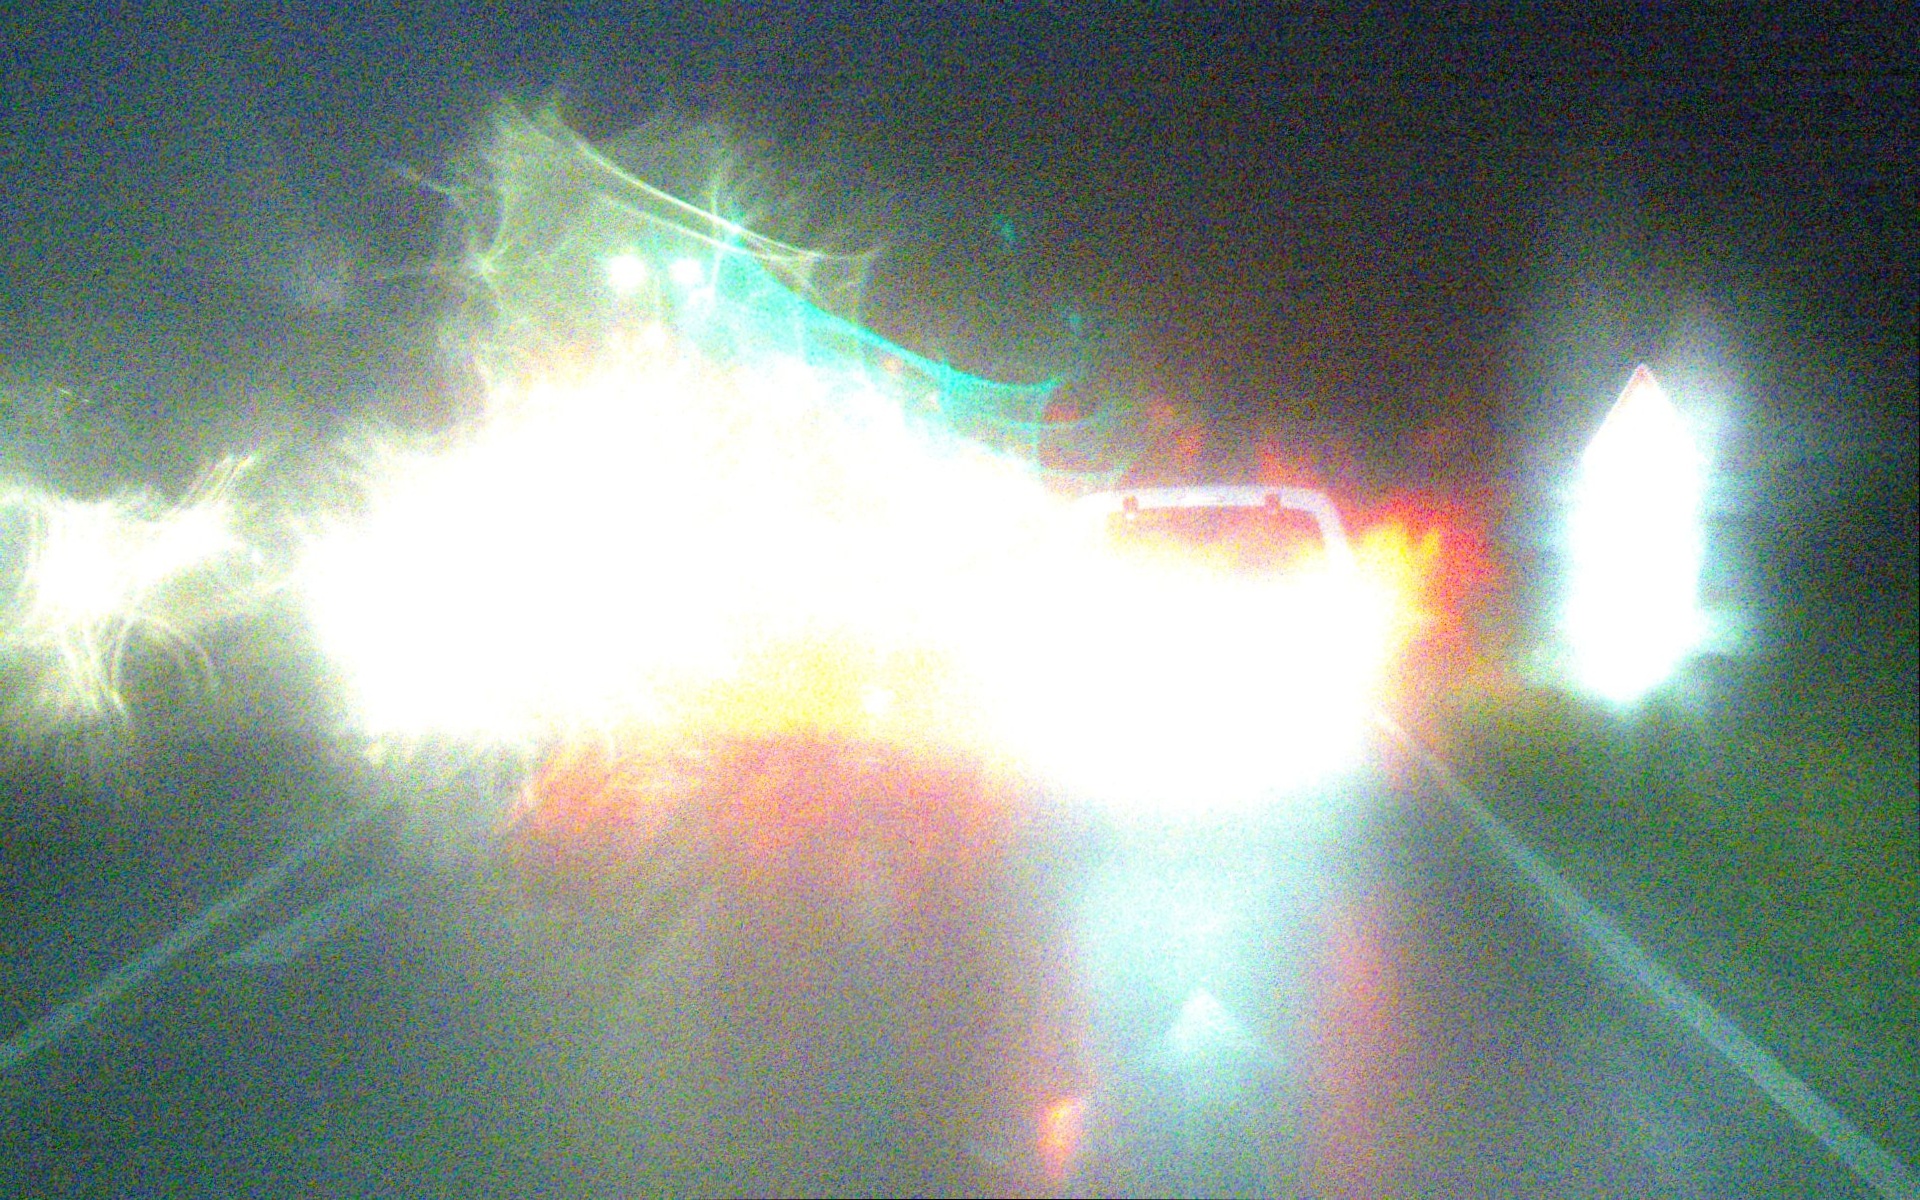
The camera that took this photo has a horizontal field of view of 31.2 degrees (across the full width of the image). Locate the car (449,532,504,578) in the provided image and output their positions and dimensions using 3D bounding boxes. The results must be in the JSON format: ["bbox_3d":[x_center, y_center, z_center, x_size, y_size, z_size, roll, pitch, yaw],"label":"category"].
[{"bbox_3d":[-17.191,-1.598,122.276,1.801,1.582,4.032,0,0,-6],"label":"car"}]

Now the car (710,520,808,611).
[{"bbox_3d":[-4.199,-0.747,71.219,1.783,1.776,4.437,-2,1,-6],"label":"car"}]

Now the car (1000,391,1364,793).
[{"bbox_3d":[1.164,-0.096,19.885,1.791,2.015,4.580,-1,1,0],"label":"car"}]

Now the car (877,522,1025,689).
[{"bbox_3d":[-0.099,0.018,44.765,1.791,2.015,4.580,-1,1,0],"label":"car"}]
